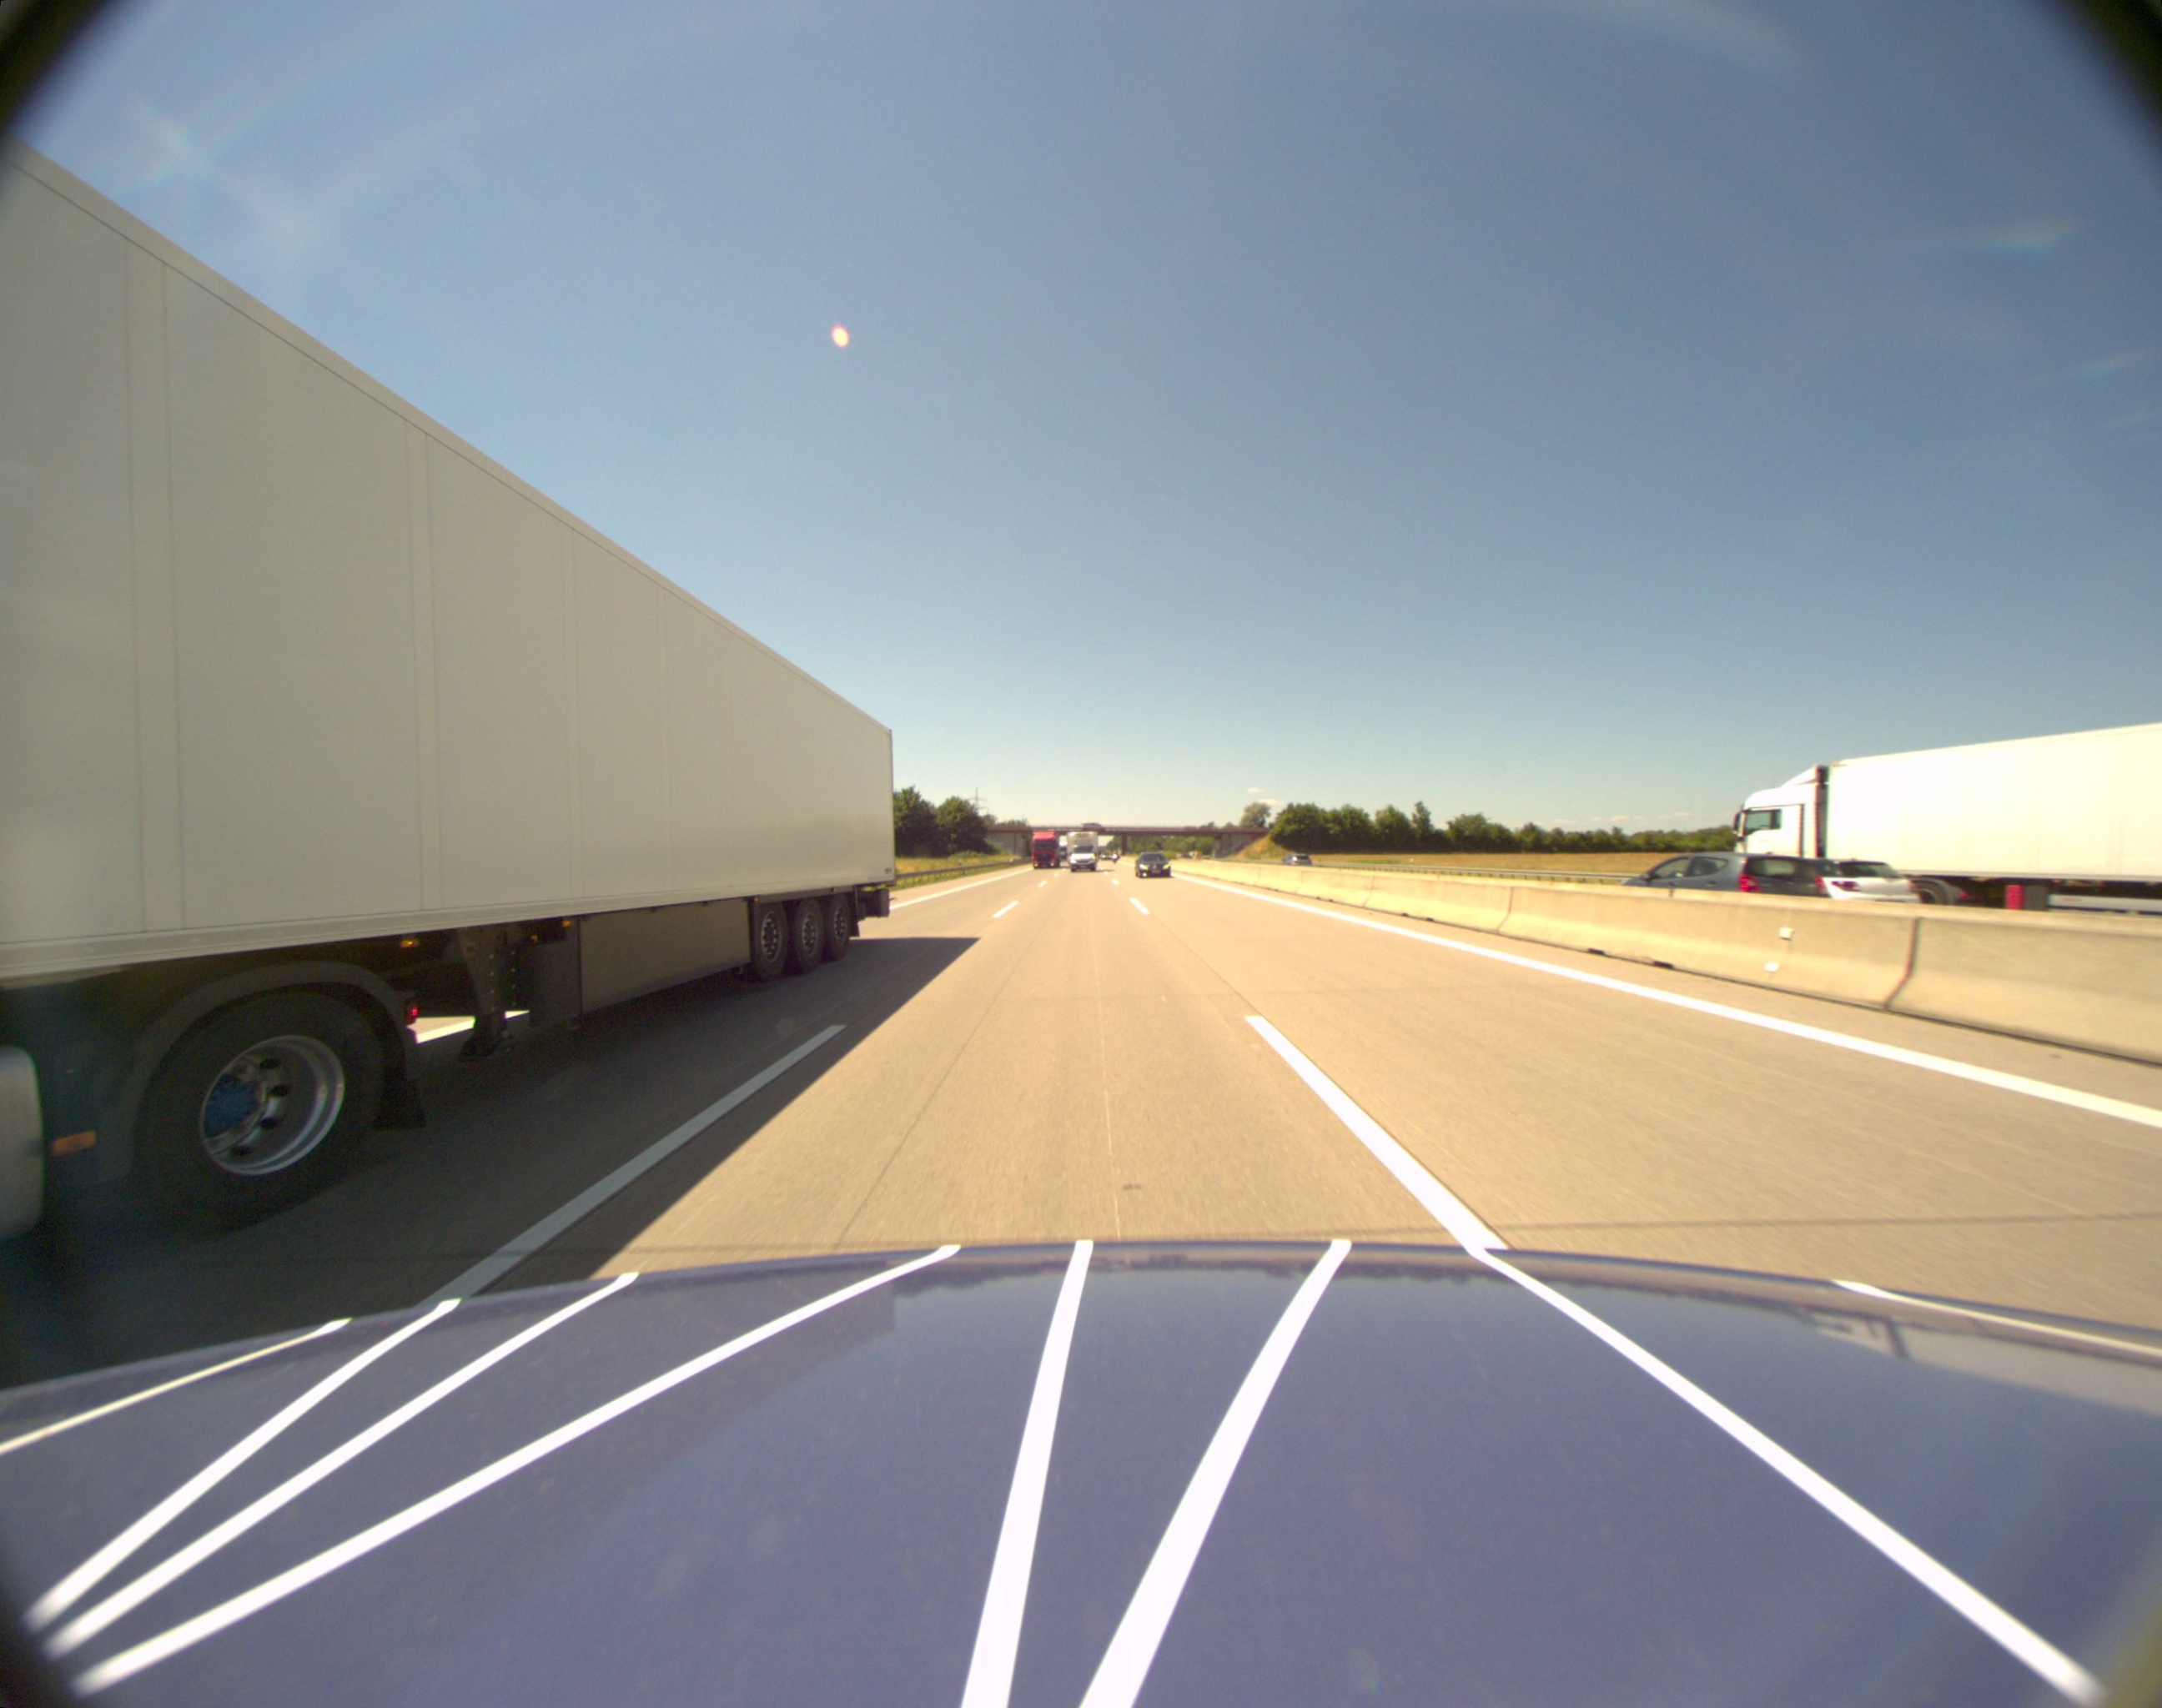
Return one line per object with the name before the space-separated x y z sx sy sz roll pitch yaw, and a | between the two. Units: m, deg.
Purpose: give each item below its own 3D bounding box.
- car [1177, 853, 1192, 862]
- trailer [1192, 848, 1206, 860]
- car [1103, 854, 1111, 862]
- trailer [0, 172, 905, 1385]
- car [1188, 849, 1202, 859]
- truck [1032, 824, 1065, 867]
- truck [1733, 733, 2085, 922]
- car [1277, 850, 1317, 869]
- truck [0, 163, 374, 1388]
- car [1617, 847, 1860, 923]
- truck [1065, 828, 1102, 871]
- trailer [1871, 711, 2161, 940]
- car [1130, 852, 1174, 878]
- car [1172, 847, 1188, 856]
car | 17.520 0.541 128.917 1.717 1.351 5.043 -2 0 0
trailer | 21.844 -0.034 140.664 1.814 2.030 5.613 -2 1 1
car | 5.157 0.732 149.665 1.557 1.440 3.776 -2 1 2
trailer | -4.891 -0.286 8.306 2.715 4.020 12.900 -2 0 0
car | 21.882 -0.040 146.307 1.870 1.933 5.565 -2 1 1
truck | -3.490 -0.938 84.671 2.855 4.298 10.885 -2 1 1
truck | 20.522 -0.592 19.427 2.826 4.021 5.677 -2 1 1
car | 17.153 0.407 60.471 1.740 1.365 4.905 -2 0 0
truck | -4.908 -0.235 0.940 2.757 4.020 5.465 -2 1 0
car | 11.798 0.495 13.949 1.546 1.156 3.375 -2 0 0
truck | 0.260 -0.393 63.769 2.784 3.328 7.812 -2 1 1
trailer | 20.361 -0.528 11.948 2.827 4.021 12.676 -2 1 1
car | 4.200 0.596 45.858 1.999 1.462 6.346 0 0 0
car | 14.750 -0.427 113.559 1.776 1.233 4.676 -2 0 0
